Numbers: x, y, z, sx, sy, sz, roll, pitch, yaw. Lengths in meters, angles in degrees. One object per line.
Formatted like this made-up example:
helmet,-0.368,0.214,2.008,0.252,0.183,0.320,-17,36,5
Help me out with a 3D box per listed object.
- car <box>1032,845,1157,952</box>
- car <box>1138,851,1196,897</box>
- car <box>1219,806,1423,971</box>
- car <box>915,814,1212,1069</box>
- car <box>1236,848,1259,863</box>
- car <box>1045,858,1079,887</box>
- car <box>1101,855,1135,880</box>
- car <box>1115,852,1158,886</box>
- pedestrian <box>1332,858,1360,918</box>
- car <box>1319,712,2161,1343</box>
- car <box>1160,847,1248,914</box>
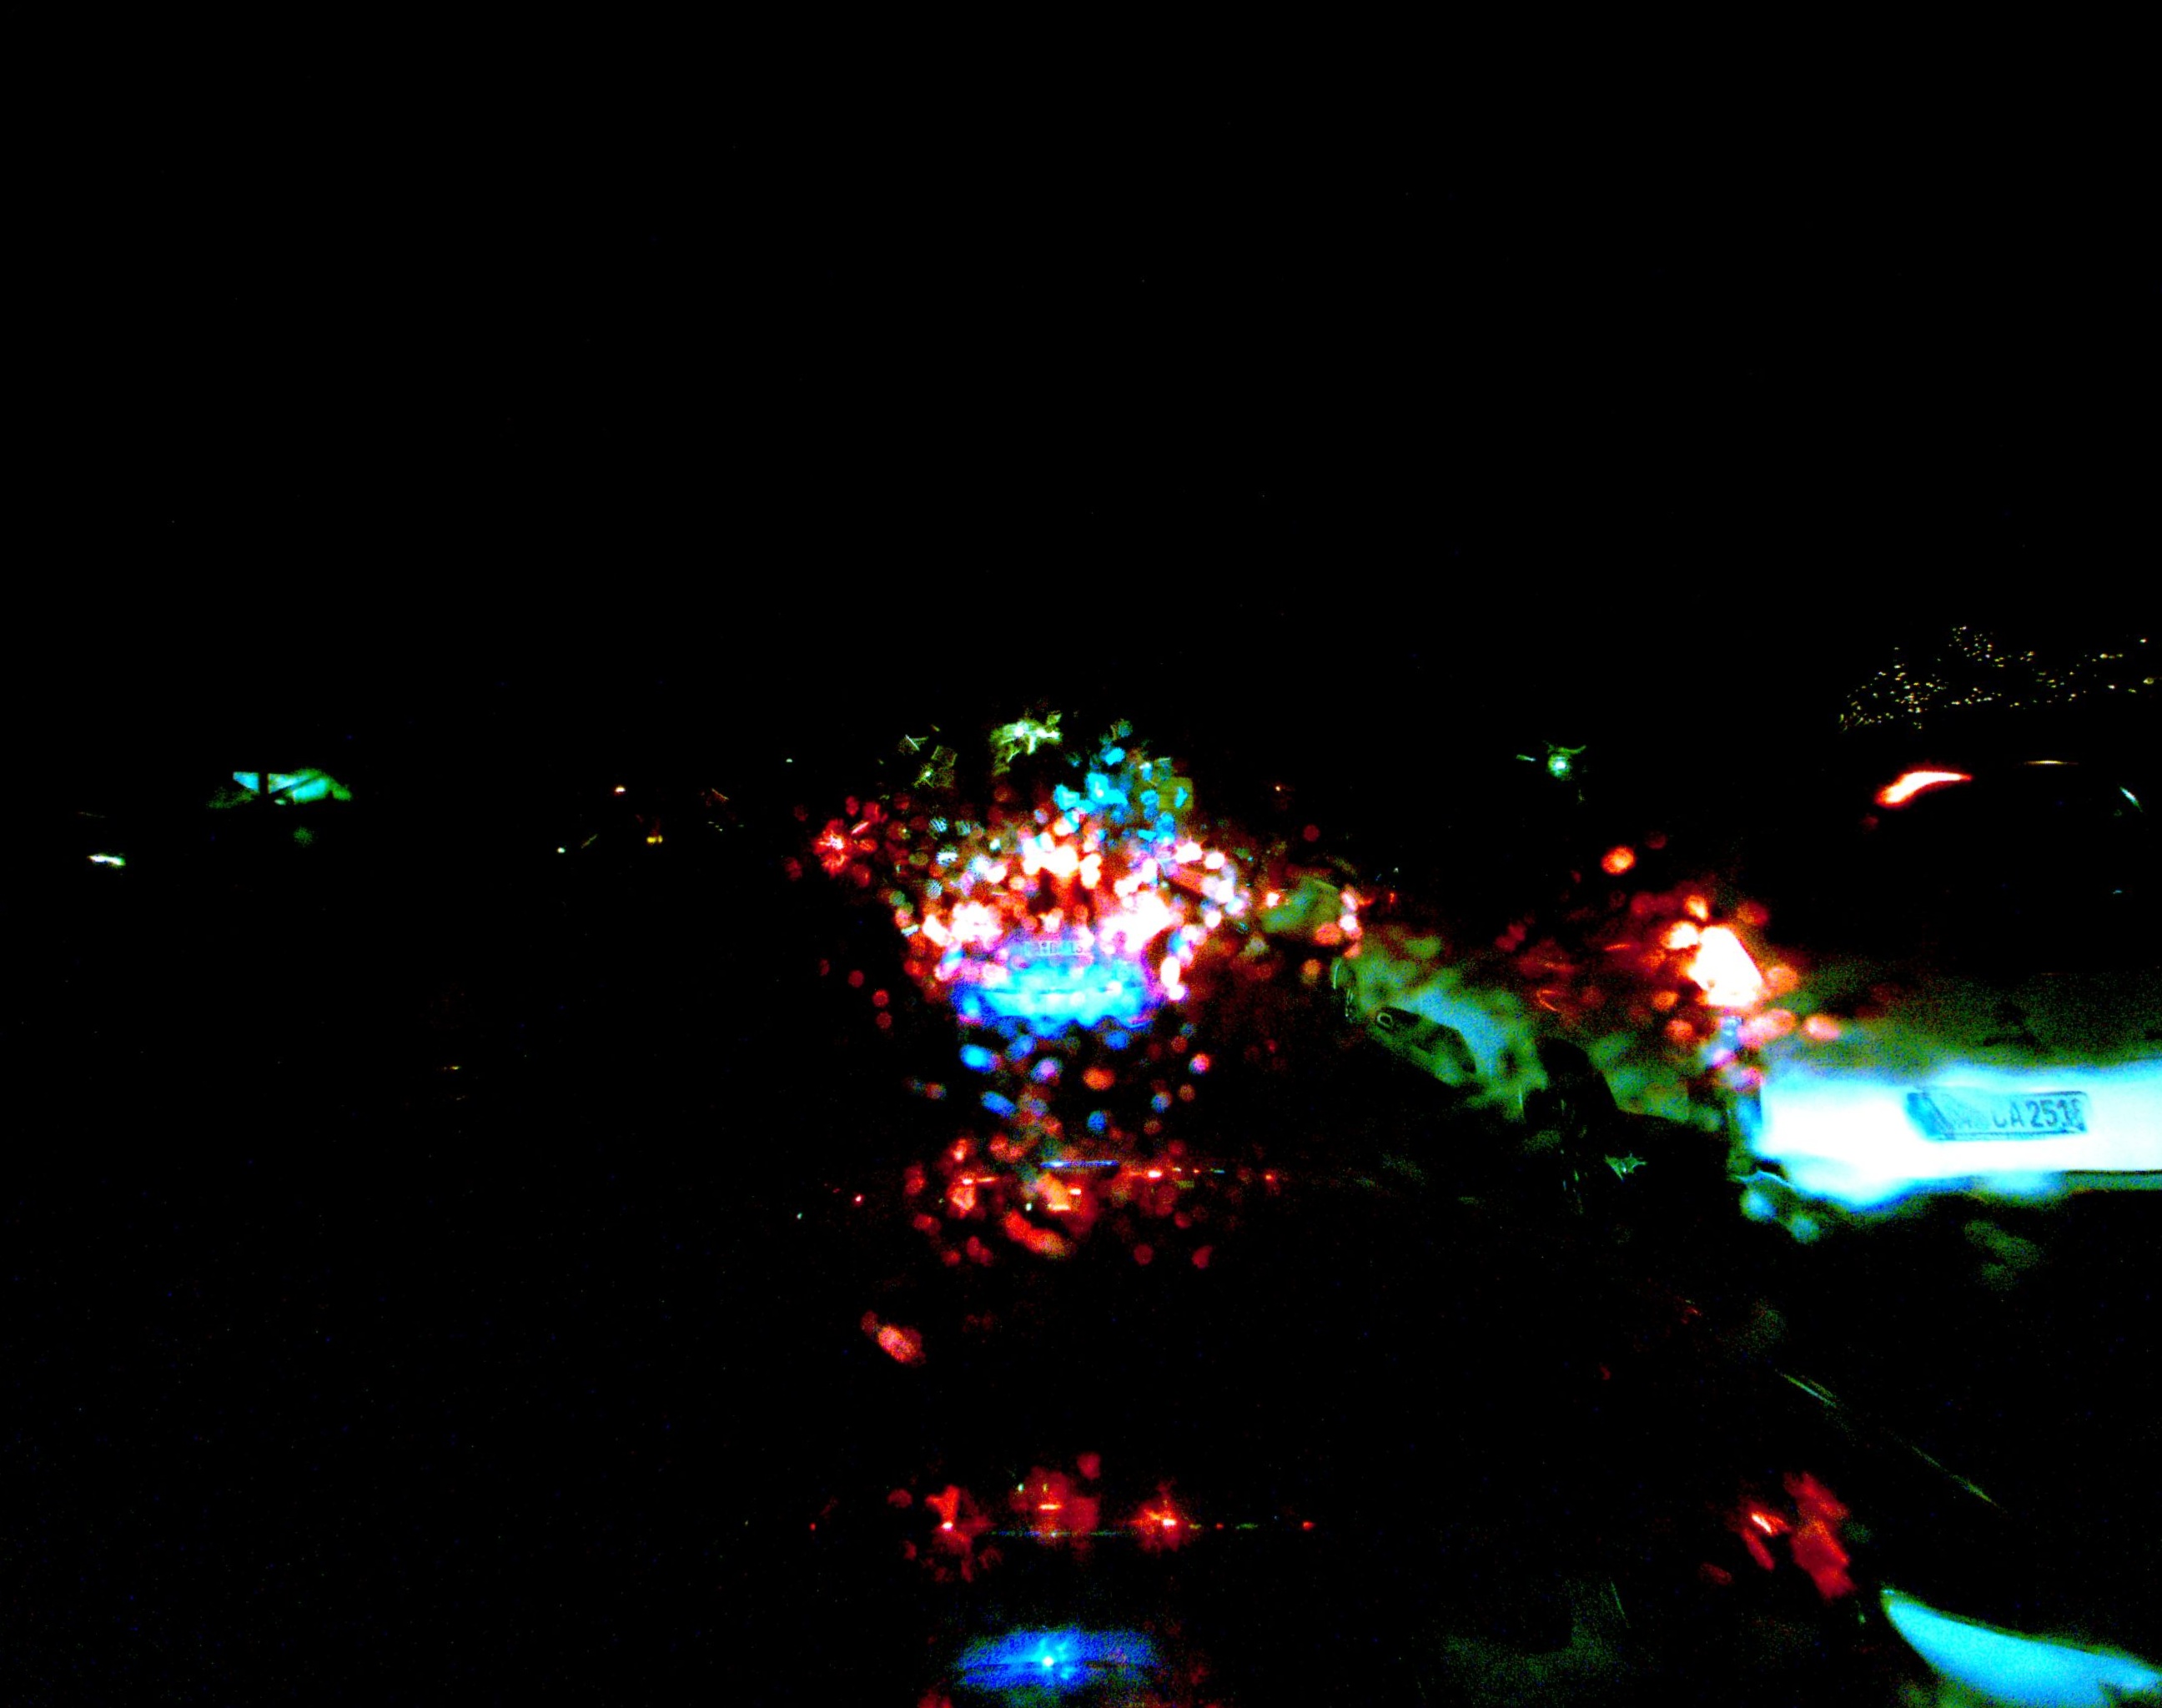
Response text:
car,0.275,0.728,14.977,1.986,1.684,4.001,0,-1,2
car,3.292,0.742,31.928,1.986,1.670,4.001,0,-1,2
car,3.327,0.447,12.131,1.961,2.047,4.001,0,-1,2
car,-0.066,0.614,7.744,2.007,1.717,4.453,0,-1,1
car,19.139,0.157,93.870,1.857,1.646,3.965,-3,-1,2
car,-1.289,1.165,52.362,1.990,1.824,3.993,0,-1,-4
car,2.392,0.851,53.252,1.853,1.544,3.926,0,-1,-3
car,2.933,0.793,43.824,1.988,1.773,3.998,0,-1,-1
pedestrian,7.654,0.973,23.527,0.621,1.701,0.541,0,-1,-1
car,2.840,0.532,4.590,1.845,1.865,4.342,0,-1,2
car,3.373,0.711,23.009,1.986,1.718,4.001,0,-1,2
